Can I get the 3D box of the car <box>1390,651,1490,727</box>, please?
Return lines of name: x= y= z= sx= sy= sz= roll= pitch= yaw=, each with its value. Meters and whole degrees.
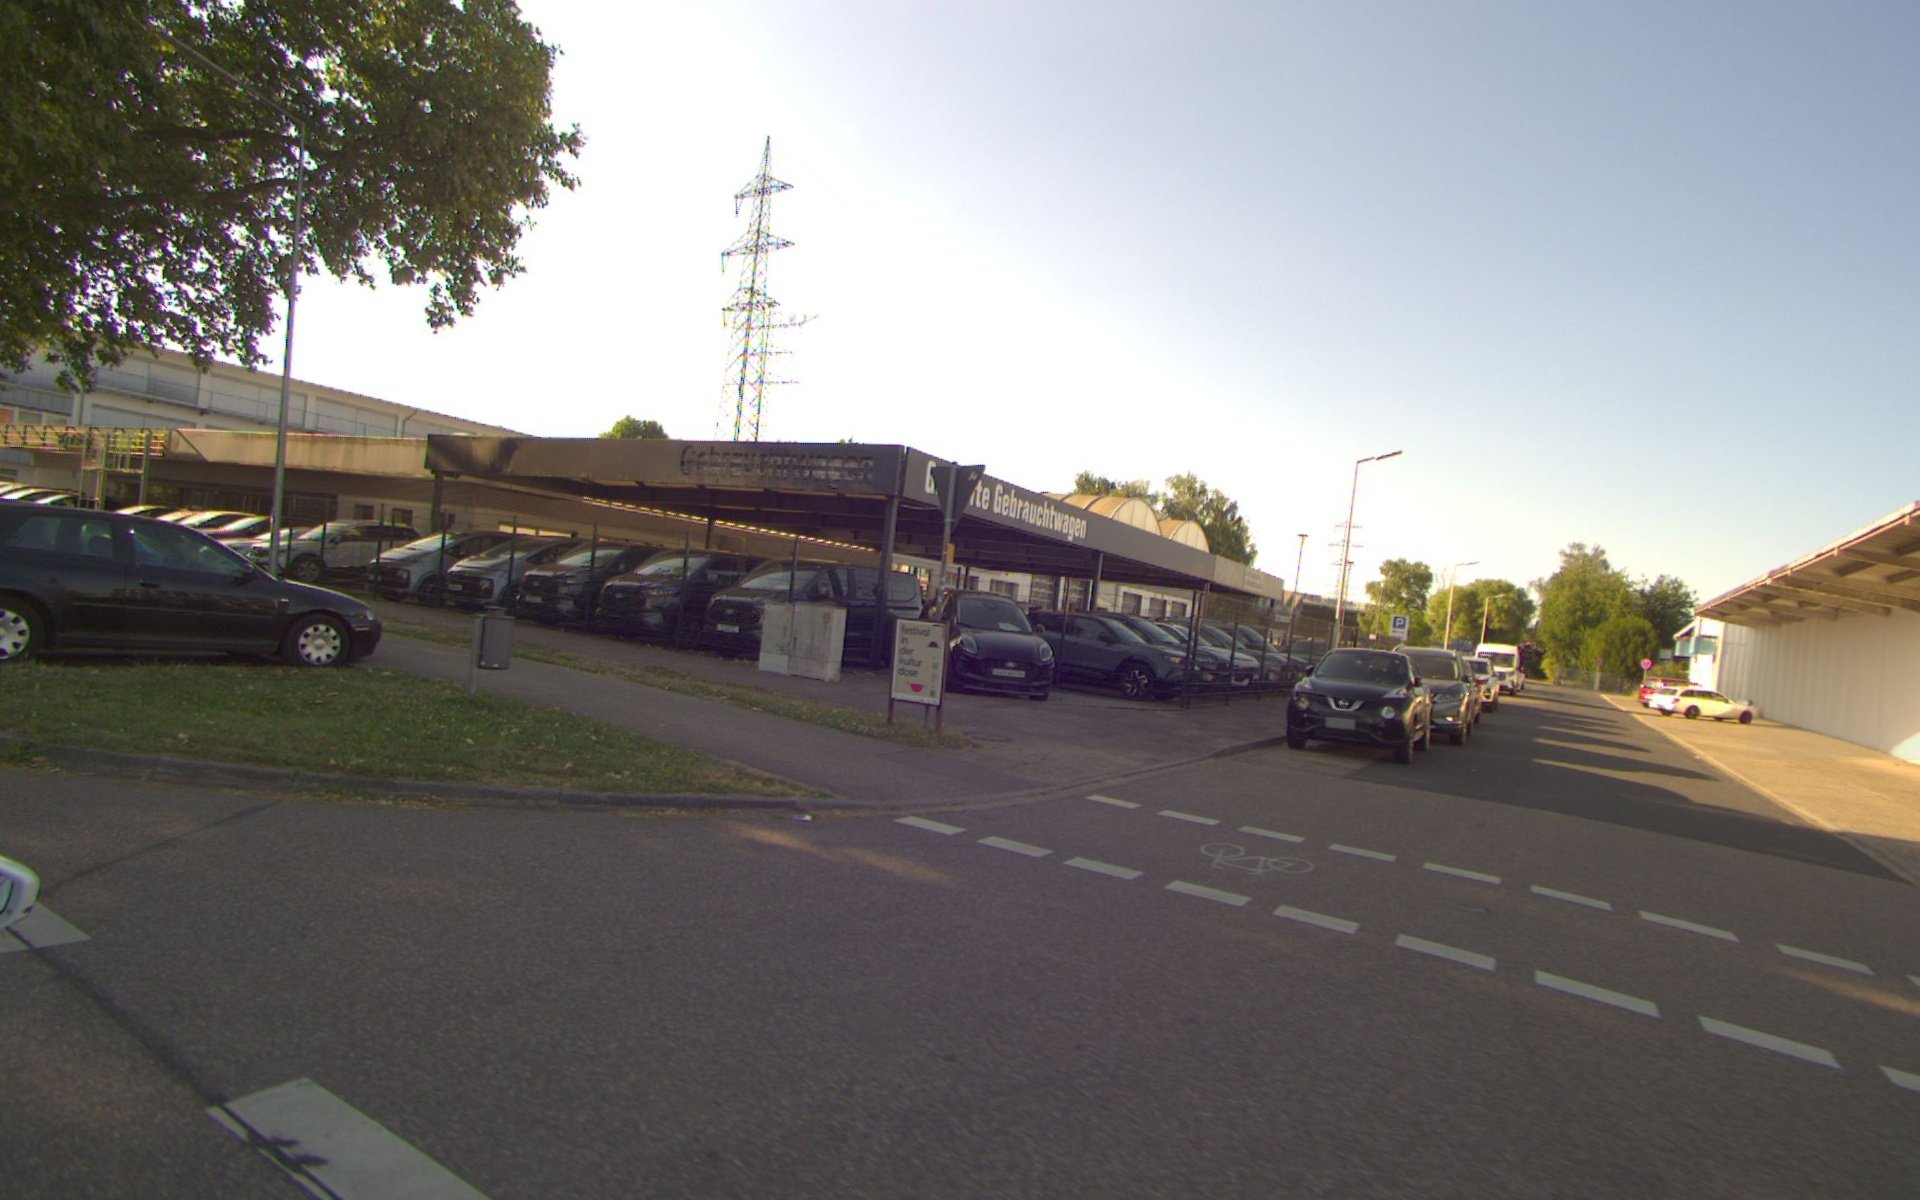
car: x=12.067 y=2.186 z=25.140 sx=1.966 sy=1.568 sz=3.994 roll=4 pitch=-1 yaw=29

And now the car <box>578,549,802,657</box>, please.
car: x=-5.271 y=0.127 z=20.153 sx=1.966 sy=1.653 sz=3.995 roll=7 pitch=-1 yaw=30

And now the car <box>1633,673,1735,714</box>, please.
car: x=41.757 y=5.367 z=58.097 sx=4.414 sy=1.670 sz=1.999 roll=7 pitch=-1 yaw=-3

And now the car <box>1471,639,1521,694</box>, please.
car: x=26.791 y=3.306 z=50.267 sx=1.966 sy=2.459 sz=3.994 roll=4 pitch=-1 yaw=29

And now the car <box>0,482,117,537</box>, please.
car: x=-35.961 y=-3.574 z=39.405 sx=1.966 sy=1.564 sz=3.995 roll=7 pitch=-1 yaw=30

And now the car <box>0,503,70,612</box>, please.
car: x=-14.469 y=-0.742 z=13.043 sx=1.796 sy=1.433 sz=3.991 roll=7 pitch=0 yaw=31

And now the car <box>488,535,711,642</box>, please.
car: x=-7.512 y=-0.173 z=21.344 sx=1.966 sy=1.720 sz=3.995 roll=7 pitch=-1 yaw=30

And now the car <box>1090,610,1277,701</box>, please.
car: x=5.459 y=1.328 z=24.636 sx=3.933 sy=1.755 sz=1.996 roll=5 pitch=0 yaw=30

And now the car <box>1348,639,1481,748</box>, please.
car: x=8.929 y=1.750 z=19.575 sx=1.966 sy=1.724 sz=4.115 roll=4 pitch=-1 yaw=29

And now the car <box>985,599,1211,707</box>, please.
car: x=2.770 y=1.039 z=20.293 sx=3.932 sy=1.621 sz=1.996 roll=6 pitch=0 yaw=30

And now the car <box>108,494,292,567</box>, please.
car: x=-23.360 y=-2.111 z=31.058 sx=1.966 sy=1.564 sz=3.995 roll=7 pitch=-1 yaw=30

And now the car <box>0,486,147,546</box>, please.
car: x=-33.786 y=-3.165 z=38.185 sx=1.966 sy=1.564 sz=3.995 roll=7 pitch=-1 yaw=30

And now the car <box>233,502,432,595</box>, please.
car: x=-16.855 y=-1.333 z=27.226 sx=1.966 sy=1.854 sz=3.995 roll=7 pitch=-1 yaw=30

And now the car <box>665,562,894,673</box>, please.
car: x=-3.225 y=0.398 z=18.763 sx=1.966 sy=1.587 sz=3.995 roll=7 pitch=-1 yaw=30

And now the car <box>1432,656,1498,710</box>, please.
car: x=18.863 y=3.066 z=37.513 sx=1.966 sy=1.724 sz=3.994 roll=4 pitch=-1 yaw=29

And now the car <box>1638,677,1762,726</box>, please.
car: x=35.558 y=4.875 z=48.425 sx=4.414 sy=1.670 sz=1.999 roll=7 pitch=-1 yaw=-3

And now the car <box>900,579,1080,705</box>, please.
car: x=0.369 y=0.664 z=17.283 sx=1.909 sy=1.791 sz=3.990 roll=5 pitch=-1 yaw=-15

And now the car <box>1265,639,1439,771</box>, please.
car: x=6.275 y=1.560 z=15.811 sx=1.966 sy=1.624 sz=3.994 roll=4 pitch=-1 yaw=29

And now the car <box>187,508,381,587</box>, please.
car: x=-19.023 y=-1.443 z=28.497 sx=1.966 sy=1.564 sz=3.995 roll=7 pitch=-1 yaw=30

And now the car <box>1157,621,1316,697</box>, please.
car: x=7.976 y=1.675 z=29.046 sx=3.933 sy=1.755 sz=1.996 roll=4 pitch=-1 yaw=30

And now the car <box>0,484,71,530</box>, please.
car: x=-40.035 y=-4.052 z=41.885 sx=1.966 sy=1.564 sz=3.995 roll=7 pitch=-1 yaw=30

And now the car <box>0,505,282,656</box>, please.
car: x=-10.025 y=-0.253 z=10.834 sx=1.967 sy=1.433 sz=3.991 roll=7 pitch=0 yaw=31

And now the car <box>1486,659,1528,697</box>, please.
car: x=32.456 y=4.629 z=59.718 sx=1.966 sy=2.007 sz=3.994 roll=4 pitch=-1 yaw=29

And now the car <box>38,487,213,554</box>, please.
car: x=-27.899 y=-2.619 z=33.762 sx=1.966 sy=1.522 sz=3.995 roll=7 pitch=-1 yaw=30

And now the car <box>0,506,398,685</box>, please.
car: x=-8.046 y=-0.045 z=9.775 sx=1.967 sy=1.433 sz=3.991 roll=7 pitch=0 yaw=31

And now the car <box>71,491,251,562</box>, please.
car: x=-25.653 y=-2.326 z=32.430 sx=1.966 sy=1.564 sz=3.995 roll=7 pitch=-1 yaw=30

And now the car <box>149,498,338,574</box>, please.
car: x=-21.053 y=-1.838 z=29.715 sx=1.966 sy=1.564 sz=3.995 roll=7 pitch=-1 yaw=30

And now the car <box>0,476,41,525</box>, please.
car: x=-42.557 y=-4.536 z=43.236 sx=1.966 sy=1.928 sz=3.995 roll=7 pitch=-1 yaw=30

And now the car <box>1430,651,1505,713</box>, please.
car: x=16.707 y=2.657 z=33.047 sx=1.966 sy=1.724 sz=3.994 roll=4 pitch=-1 yaw=29

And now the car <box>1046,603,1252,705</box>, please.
car: x=4.196 y=1.166 z=22.418 sx=3.932 sy=1.755 sz=1.996 roll=6 pitch=0 yaw=30

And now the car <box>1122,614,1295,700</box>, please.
car: x=6.583 y=1.491 z=26.720 sx=3.932 sy=1.755 sz=1.996 roll=6 pitch=0 yaw=30

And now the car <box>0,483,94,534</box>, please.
car: x=-38.007 y=-3.814 z=40.680 sx=1.966 sy=1.564 sz=3.995 roll=7 pitch=-1 yaw=30

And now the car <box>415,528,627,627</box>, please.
car: x=-10.044 y=-0.461 z=23.306 sx=1.966 sy=1.720 sz=3.995 roll=7 pitch=-1 yaw=30

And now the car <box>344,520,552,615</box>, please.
car: x=-12.414 y=-0.741 z=24.651 sx=1.966 sy=1.720 sz=3.995 roll=7 pitch=-1 yaw=30
